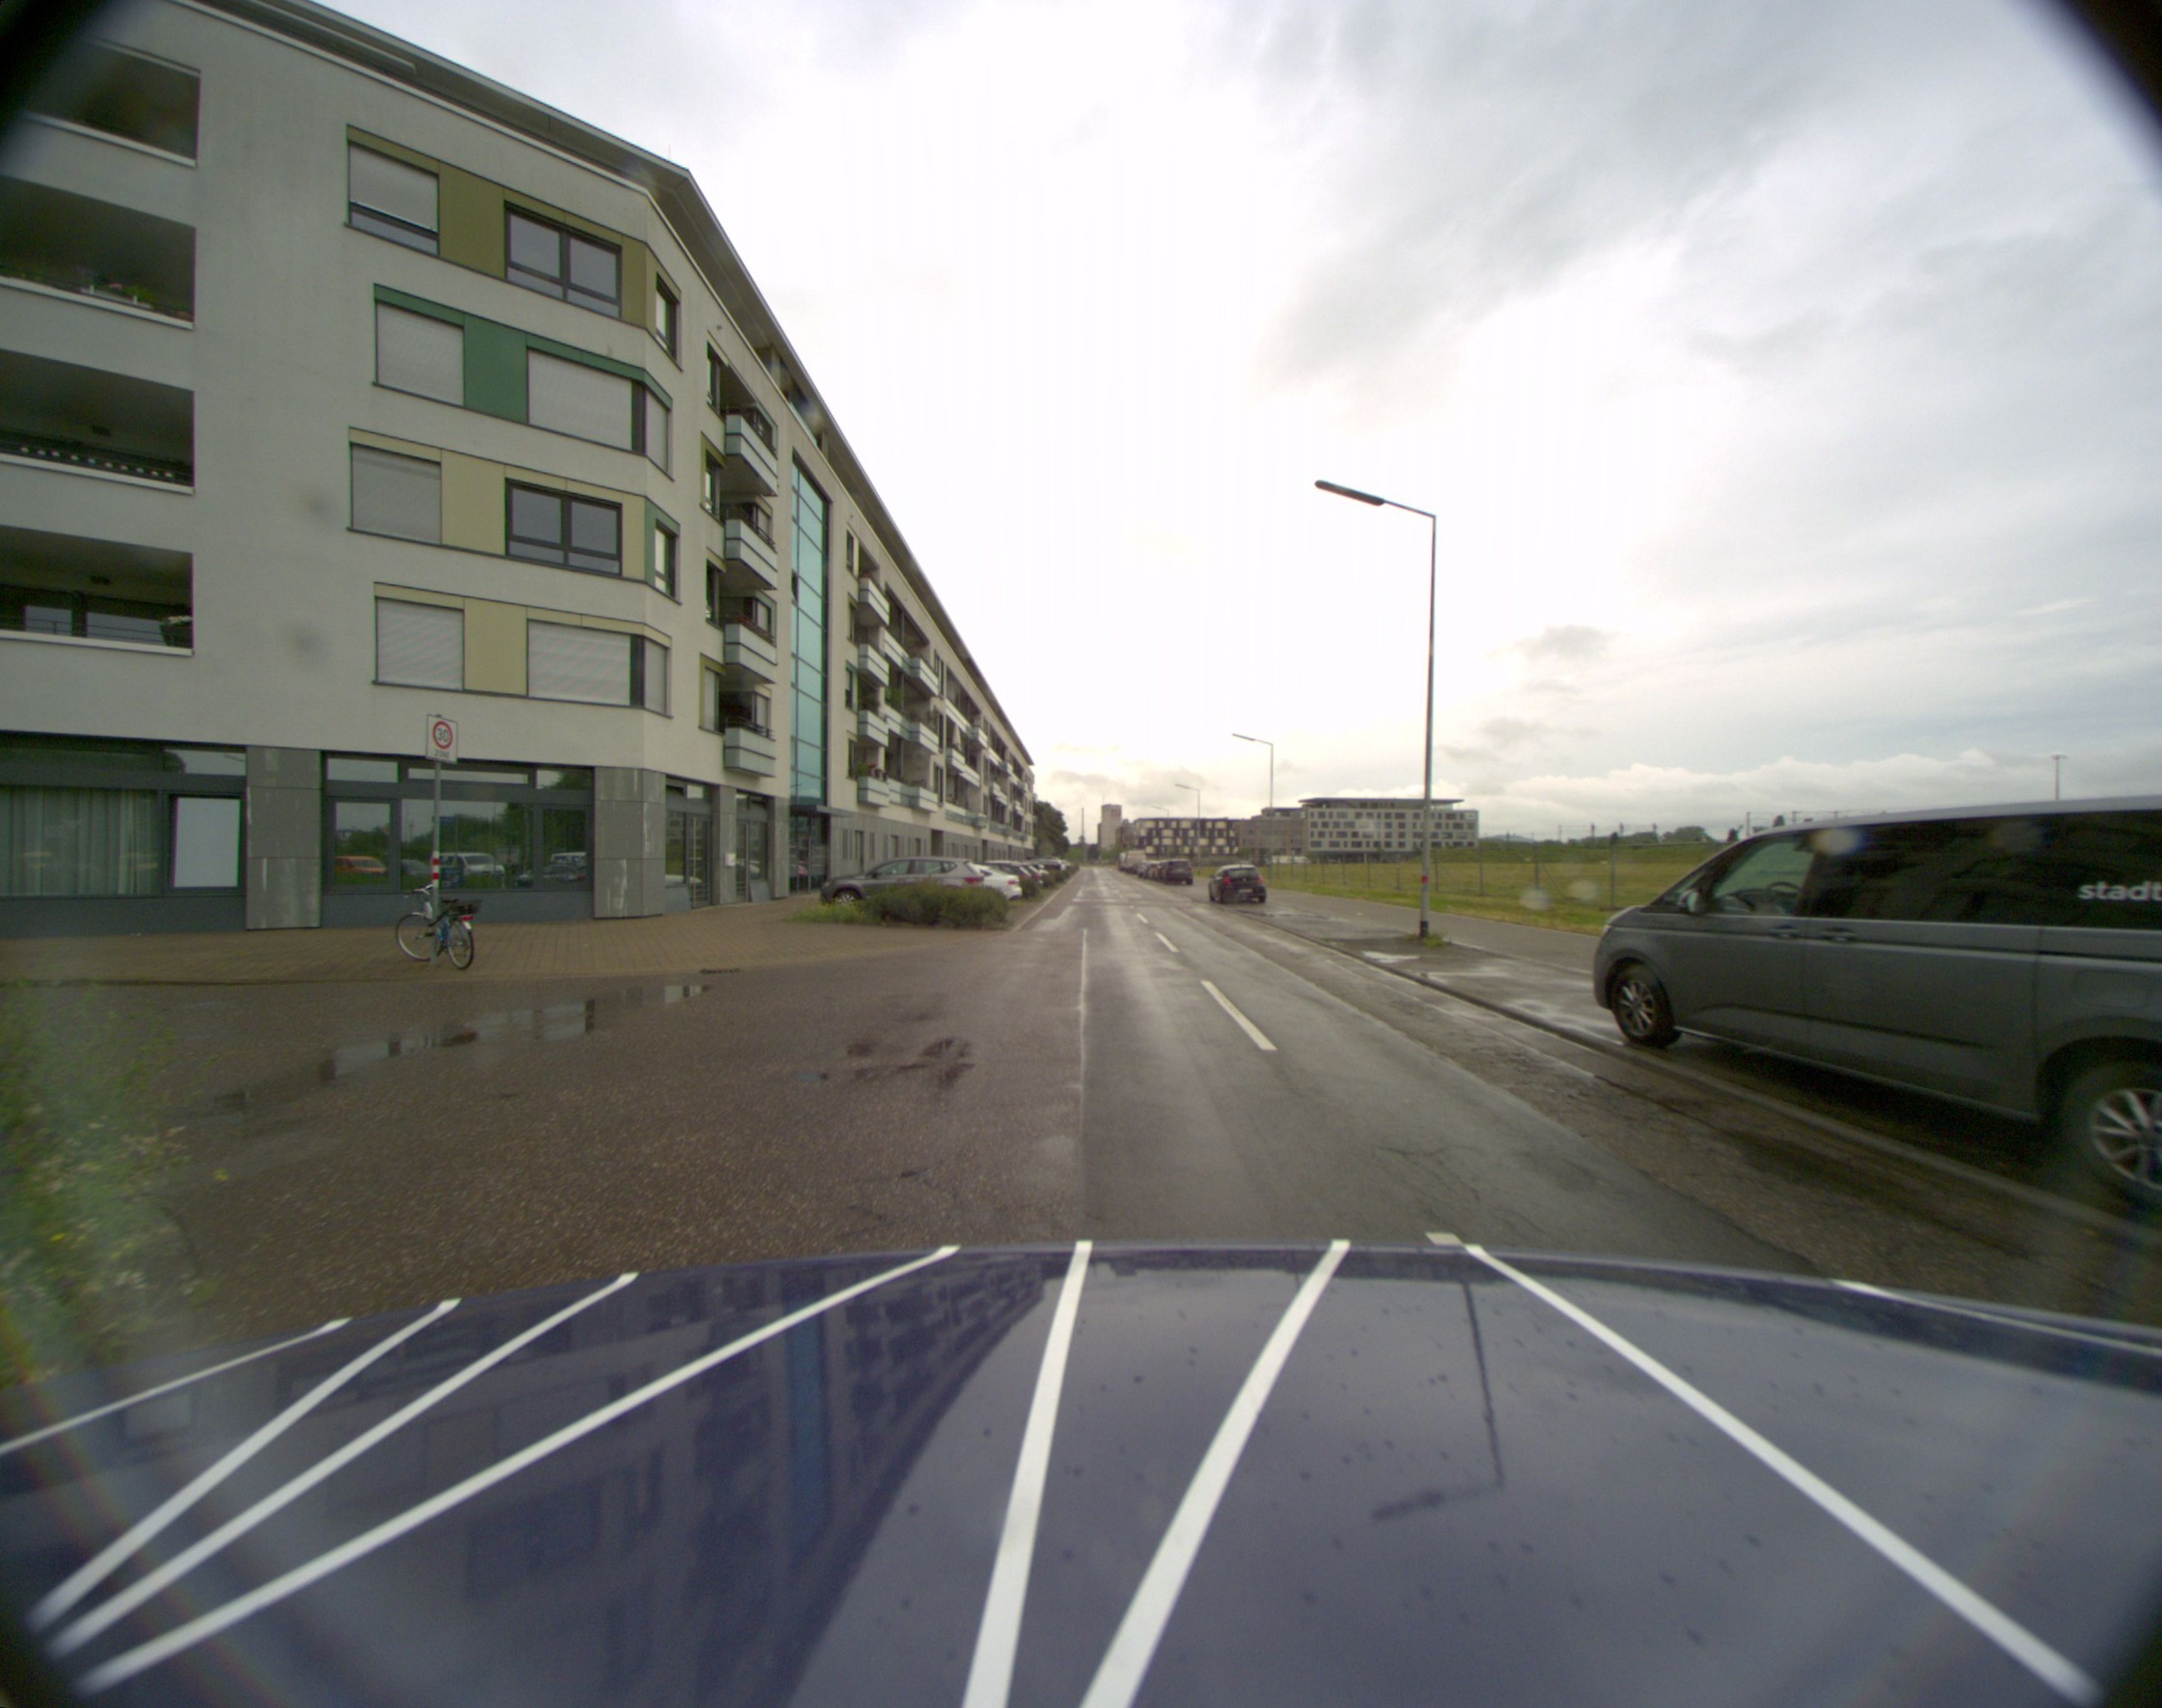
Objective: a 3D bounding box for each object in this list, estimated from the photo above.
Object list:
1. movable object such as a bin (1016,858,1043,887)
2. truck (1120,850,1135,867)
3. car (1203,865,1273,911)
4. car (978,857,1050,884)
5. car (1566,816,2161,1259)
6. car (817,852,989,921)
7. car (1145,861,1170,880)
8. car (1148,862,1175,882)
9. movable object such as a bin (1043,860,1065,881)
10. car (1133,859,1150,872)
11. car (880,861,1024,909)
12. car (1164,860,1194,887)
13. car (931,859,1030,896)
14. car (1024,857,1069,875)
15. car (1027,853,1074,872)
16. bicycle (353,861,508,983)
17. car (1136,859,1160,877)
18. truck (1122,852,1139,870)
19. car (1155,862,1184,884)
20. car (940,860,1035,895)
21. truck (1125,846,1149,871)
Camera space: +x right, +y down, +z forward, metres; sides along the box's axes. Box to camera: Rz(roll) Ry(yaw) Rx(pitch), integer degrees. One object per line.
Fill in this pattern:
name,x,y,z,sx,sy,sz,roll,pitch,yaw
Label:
movable object such as a bin,-2.752,1.006,40.938,1.303,1.517,1.582,-1,0,1
truck,7.519,0.714,122.920,2.180,2.730,5.290,-1,0,1
car,6.011,1.258,29.540,1.851,1.552,4.153,-3,0,1
car,-4.210,1.044,48.124,4.357,1.521,1.893,2,0,1
car,5.607,0.777,4.796,1.960,1.890,4.995,-1,0,1
car,-4.666,0.824,20.408,4.100,1.614,1.966,2,0,0
car,6.816,1.471,68.037,1.842,1.519,4.670,-2,0,1
car,6.581,1.444,62.521,1.730,1.566,4.210,0,0,-1
movable object such as a bin,-2.007,1.202,57.007,1.499,1.484,1.156,3,0,1
car,6.947,1.298,87.695,1.676,1.454,4.157,0,0,1
car,-4.208,1.001,25.331,4.420,1.397,1.910,2,0,0
car,6.573,1.276,51.325,1.756,1.683,4.882,0,0,4
car,-4.282,0.996,32.941,3.997,1.470,1.879,1,0,0
car,-3.315,1.149,72.660,4.218,1.634,1.687,0,1,0
car,-3.374,0.988,85.434,5.062,1.917,1.982,2,0,1
bicycle,-8.791,0.864,10.253,2.189,1.513,0.631,1,0,21
car,6.542,1.319,74.617,1.857,1.598,4.989,-3,0,0
truck,7.474,1.057,115.678,2.180,2.591,6.132,-1,0,1
car,6.584,1.369,56.730,1.757,1.581,4.134,0,0,1
car,-4.262,1.074,35.187,4.070,1.488,2.058,1,0,1
truck,7.007,0.562,95.606,2.442,3.050,6.700,-2,0,0
